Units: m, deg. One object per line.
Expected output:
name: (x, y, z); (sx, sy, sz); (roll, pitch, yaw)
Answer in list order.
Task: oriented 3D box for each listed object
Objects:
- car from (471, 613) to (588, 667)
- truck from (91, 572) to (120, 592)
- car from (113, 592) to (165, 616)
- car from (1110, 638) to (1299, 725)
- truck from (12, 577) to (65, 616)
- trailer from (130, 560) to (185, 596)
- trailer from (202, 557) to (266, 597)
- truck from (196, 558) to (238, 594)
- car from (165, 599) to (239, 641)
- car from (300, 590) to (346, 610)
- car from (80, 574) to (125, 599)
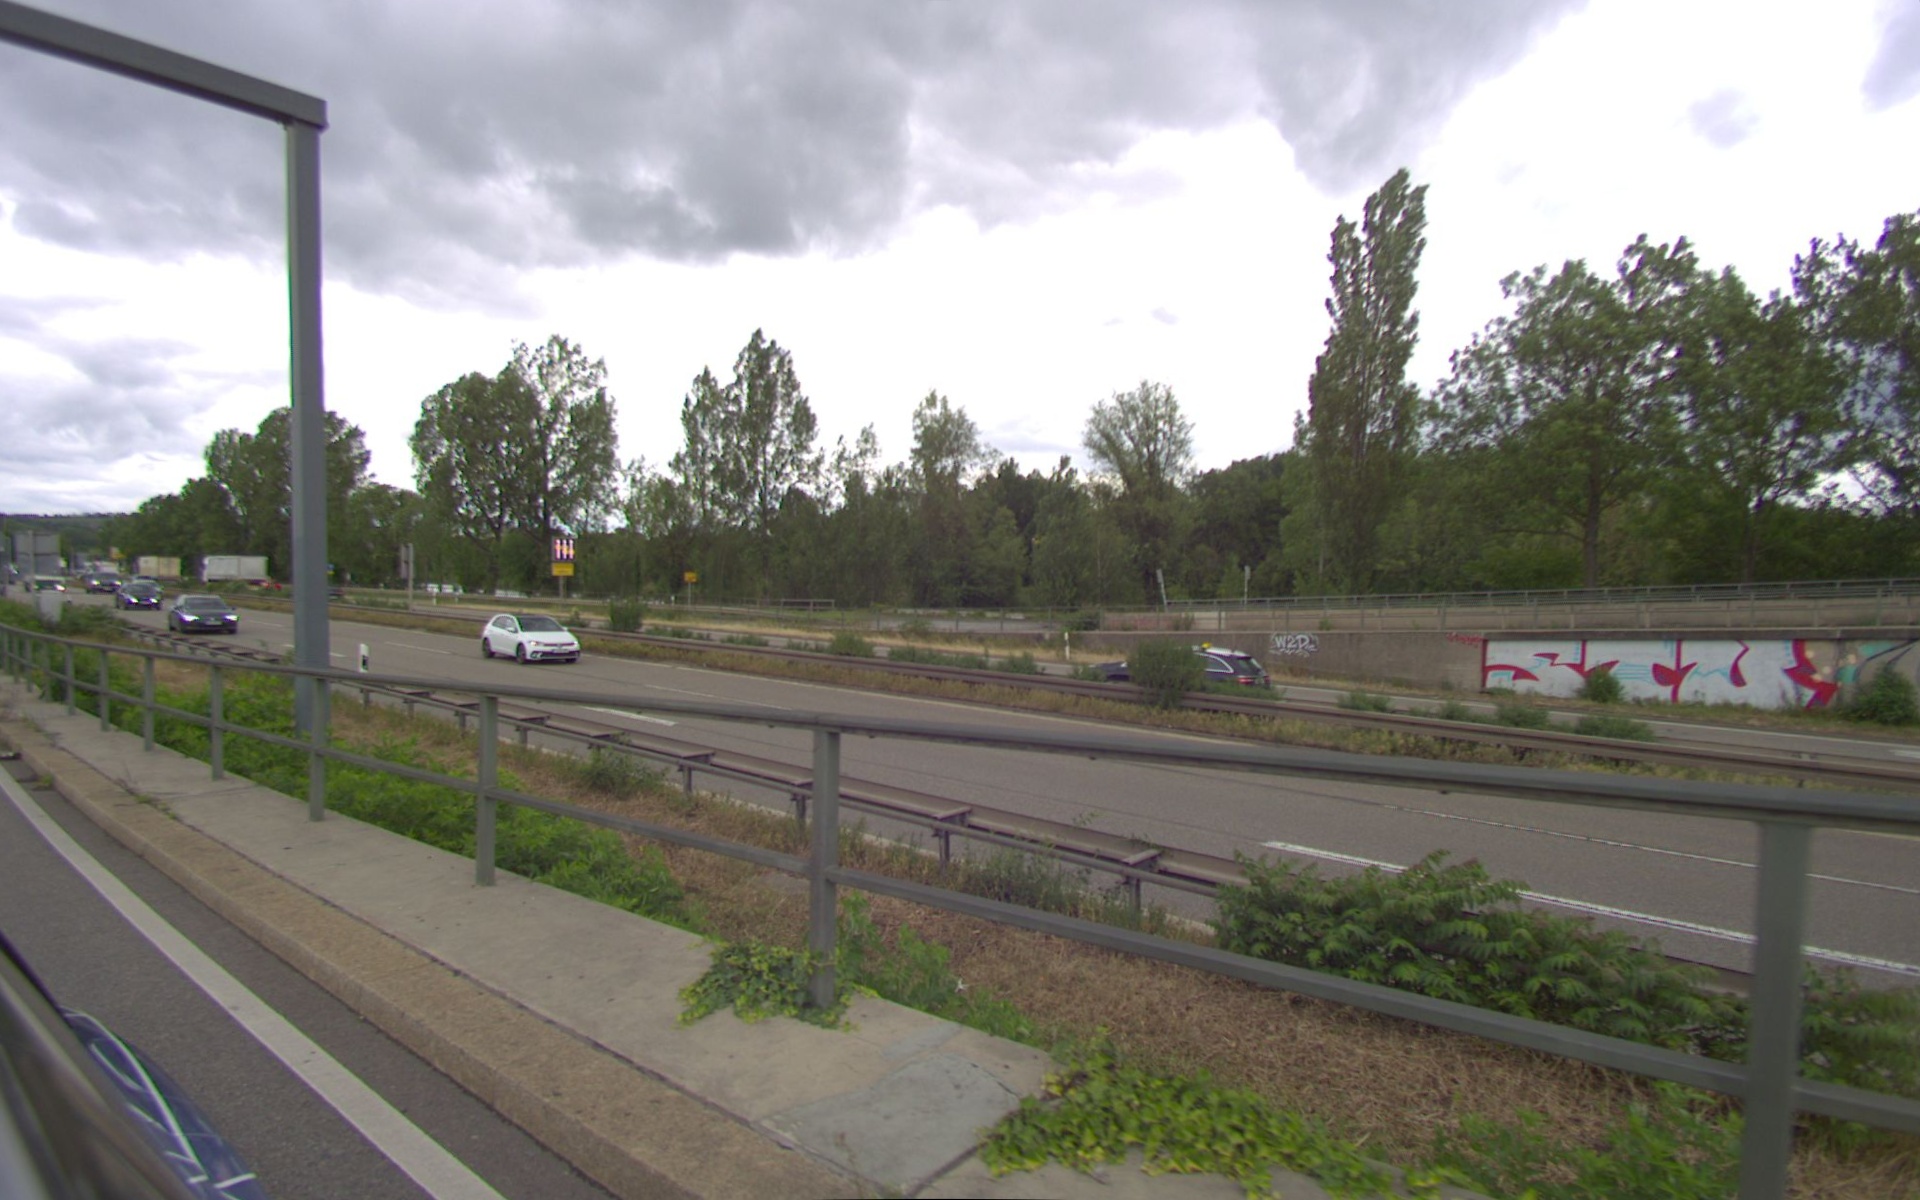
car: (-13.575, 1.214, 31.846); (3.998, 1.511, 1.835); (1, 0, 41)
truck: (-161.477, -3.342, 191.248); (6.331, 3.670, 2.953); (1, 2, 39)
car: (-46.532, 0.221, 57.325); (3.646, 1.337, 1.706); (1, 0, 41)
car: (5.858, 1.886, 24.467); (4.000, 1.741, 1.972); (1, 0, 43)
truck: (-80.942, -0.364, 88.842); (7.572, 3.182, 2.998); (2, 1, 44)
trailer: (-110.720, -3.013, 139.512); (14.778, 4.708, 3.427); (1, 1, 42)
trailer: (-77.331, -2.517, 107.628); (13.512, 3.978, 2.760); (2, 2, 42)
truck: (-82.445, -2.697, 112.296); (5.312, 3.966, 2.760); (2, 2, 42)
car: (-29.757, 0.764, 39.689); (1.912, 1.512, 4.309); (2, -1, -42)
car: (-48.170, 0.017, 76.491); (4.000, 1.446, 1.972); (1, 0, 42)
car: (-75.185, -1.192, 88.686); (5.335, 2.029, 2.073); (3, 1, 40)
